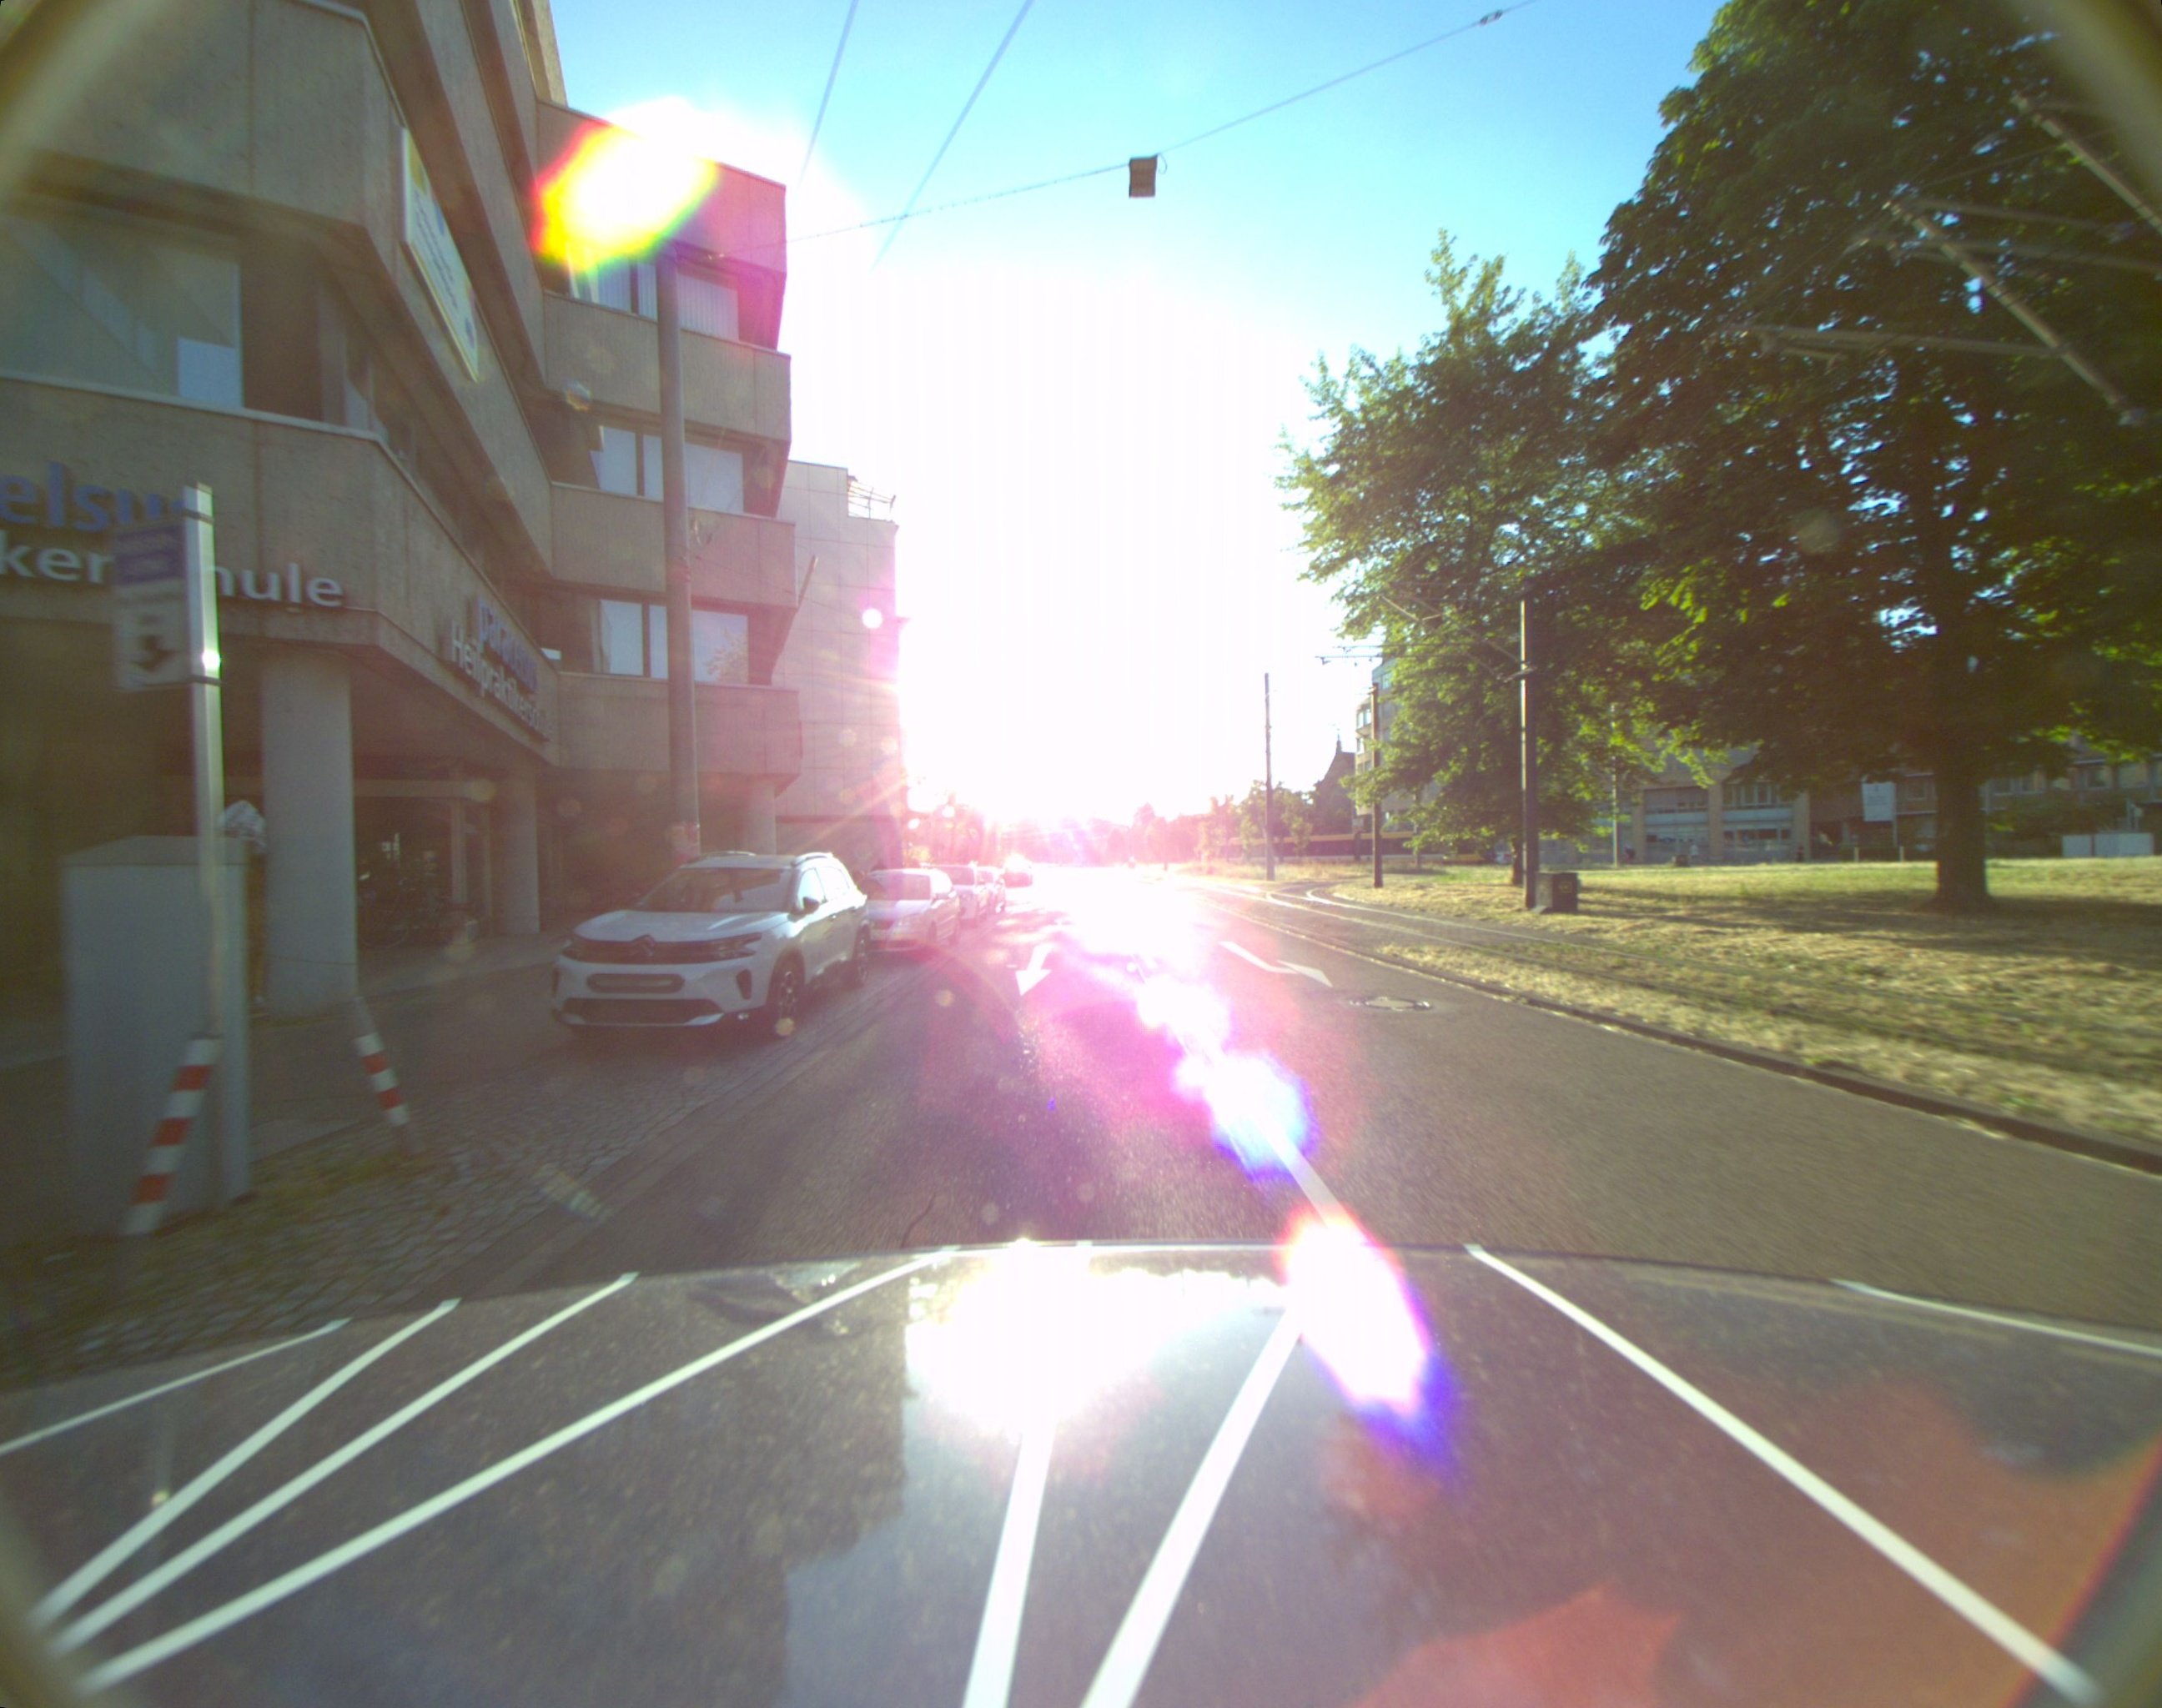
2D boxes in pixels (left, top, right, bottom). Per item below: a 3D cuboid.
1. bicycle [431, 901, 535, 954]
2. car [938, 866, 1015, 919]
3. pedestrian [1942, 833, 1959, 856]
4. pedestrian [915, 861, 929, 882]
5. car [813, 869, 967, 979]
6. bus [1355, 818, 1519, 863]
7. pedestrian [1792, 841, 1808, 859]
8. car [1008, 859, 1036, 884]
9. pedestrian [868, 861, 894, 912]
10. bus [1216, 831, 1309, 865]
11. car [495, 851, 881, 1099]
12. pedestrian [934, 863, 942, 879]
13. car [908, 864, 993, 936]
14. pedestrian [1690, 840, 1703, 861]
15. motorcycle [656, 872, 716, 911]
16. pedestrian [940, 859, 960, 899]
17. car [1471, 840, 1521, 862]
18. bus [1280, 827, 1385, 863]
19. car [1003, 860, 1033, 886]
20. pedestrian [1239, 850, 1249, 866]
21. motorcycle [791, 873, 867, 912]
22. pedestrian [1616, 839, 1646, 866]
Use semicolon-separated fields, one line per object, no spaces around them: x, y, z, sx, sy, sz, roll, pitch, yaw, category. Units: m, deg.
-10.756;1.315;13.687;1.397;0.824;0.437;-3;0;-10;bicycle
-3.297;1.176;24.695;1.789;1.448;4.000;-2;0;1;car
57.946;-0.621;50.637;0.567;1.530;0.575;-3;0;-27;pedestrian
-13.178;1.424;62.913;0.895;1.715;0.772;-1;-1;-31;pedestrian
-3.181;1.096;13.465;1.645;1.519;4.000;-3;0;0;car
30.960;-1.043;67.305;3.765;3.342;13.686;-3;0;-26;bus
53.723;-0.275;56.786;0.568;1.316;0.682;-3;0;-32;pedestrian
-4.195;1.214;54.507;1.809;1.660;4.811;-3;0;-4;car
-6.512;1.044;24.732;0.641;1.617;0.855;-3;0;-24;pedestrian
20.867;-0.627;88.657;3.765;3.435;12.109;-3;0;-25;bus
-3.546;0.928;7.962;1.788;1.794;4.400;-3;0;-2;car
-14.760;1.752;78.406;0.519;1.683;0.771;-3;1;-20;pedestrian
-3.275;1.096;19.669;1.589;1.581;3.667;-3;0;-2;car
50.910;-0.303;62.816;0.532;1.682;0.617;-3;0;-18;pedestrian
-13.316;1.270;25.636;1.793;1.285;0.670;-1;0;15;motorcycle
-6.127;1.160;35.431;0.641;1.775;0.855;-3;0;-24;pedestrian
41.339;-0.274;75.668;1.858;2.002;3.902;-3;0;-30;car
25.668;-0.827;78.299;3.765;3.311;10.716;-3;0;-25;bus
-4.072;1.220;49.618;1.655;1.525;4.066;-3;0;-2;car
15.034;0.341;70.177;0.672;1.450;0.699;-3;0;-4;pedestrian
-8.519;1.288;25.758;2.283;1.183;0.704;-3;1;-9;motorcycle
44.887;-0.116;62.012;1.061;2.082;1.630;-3;0;-31;pedestrian
